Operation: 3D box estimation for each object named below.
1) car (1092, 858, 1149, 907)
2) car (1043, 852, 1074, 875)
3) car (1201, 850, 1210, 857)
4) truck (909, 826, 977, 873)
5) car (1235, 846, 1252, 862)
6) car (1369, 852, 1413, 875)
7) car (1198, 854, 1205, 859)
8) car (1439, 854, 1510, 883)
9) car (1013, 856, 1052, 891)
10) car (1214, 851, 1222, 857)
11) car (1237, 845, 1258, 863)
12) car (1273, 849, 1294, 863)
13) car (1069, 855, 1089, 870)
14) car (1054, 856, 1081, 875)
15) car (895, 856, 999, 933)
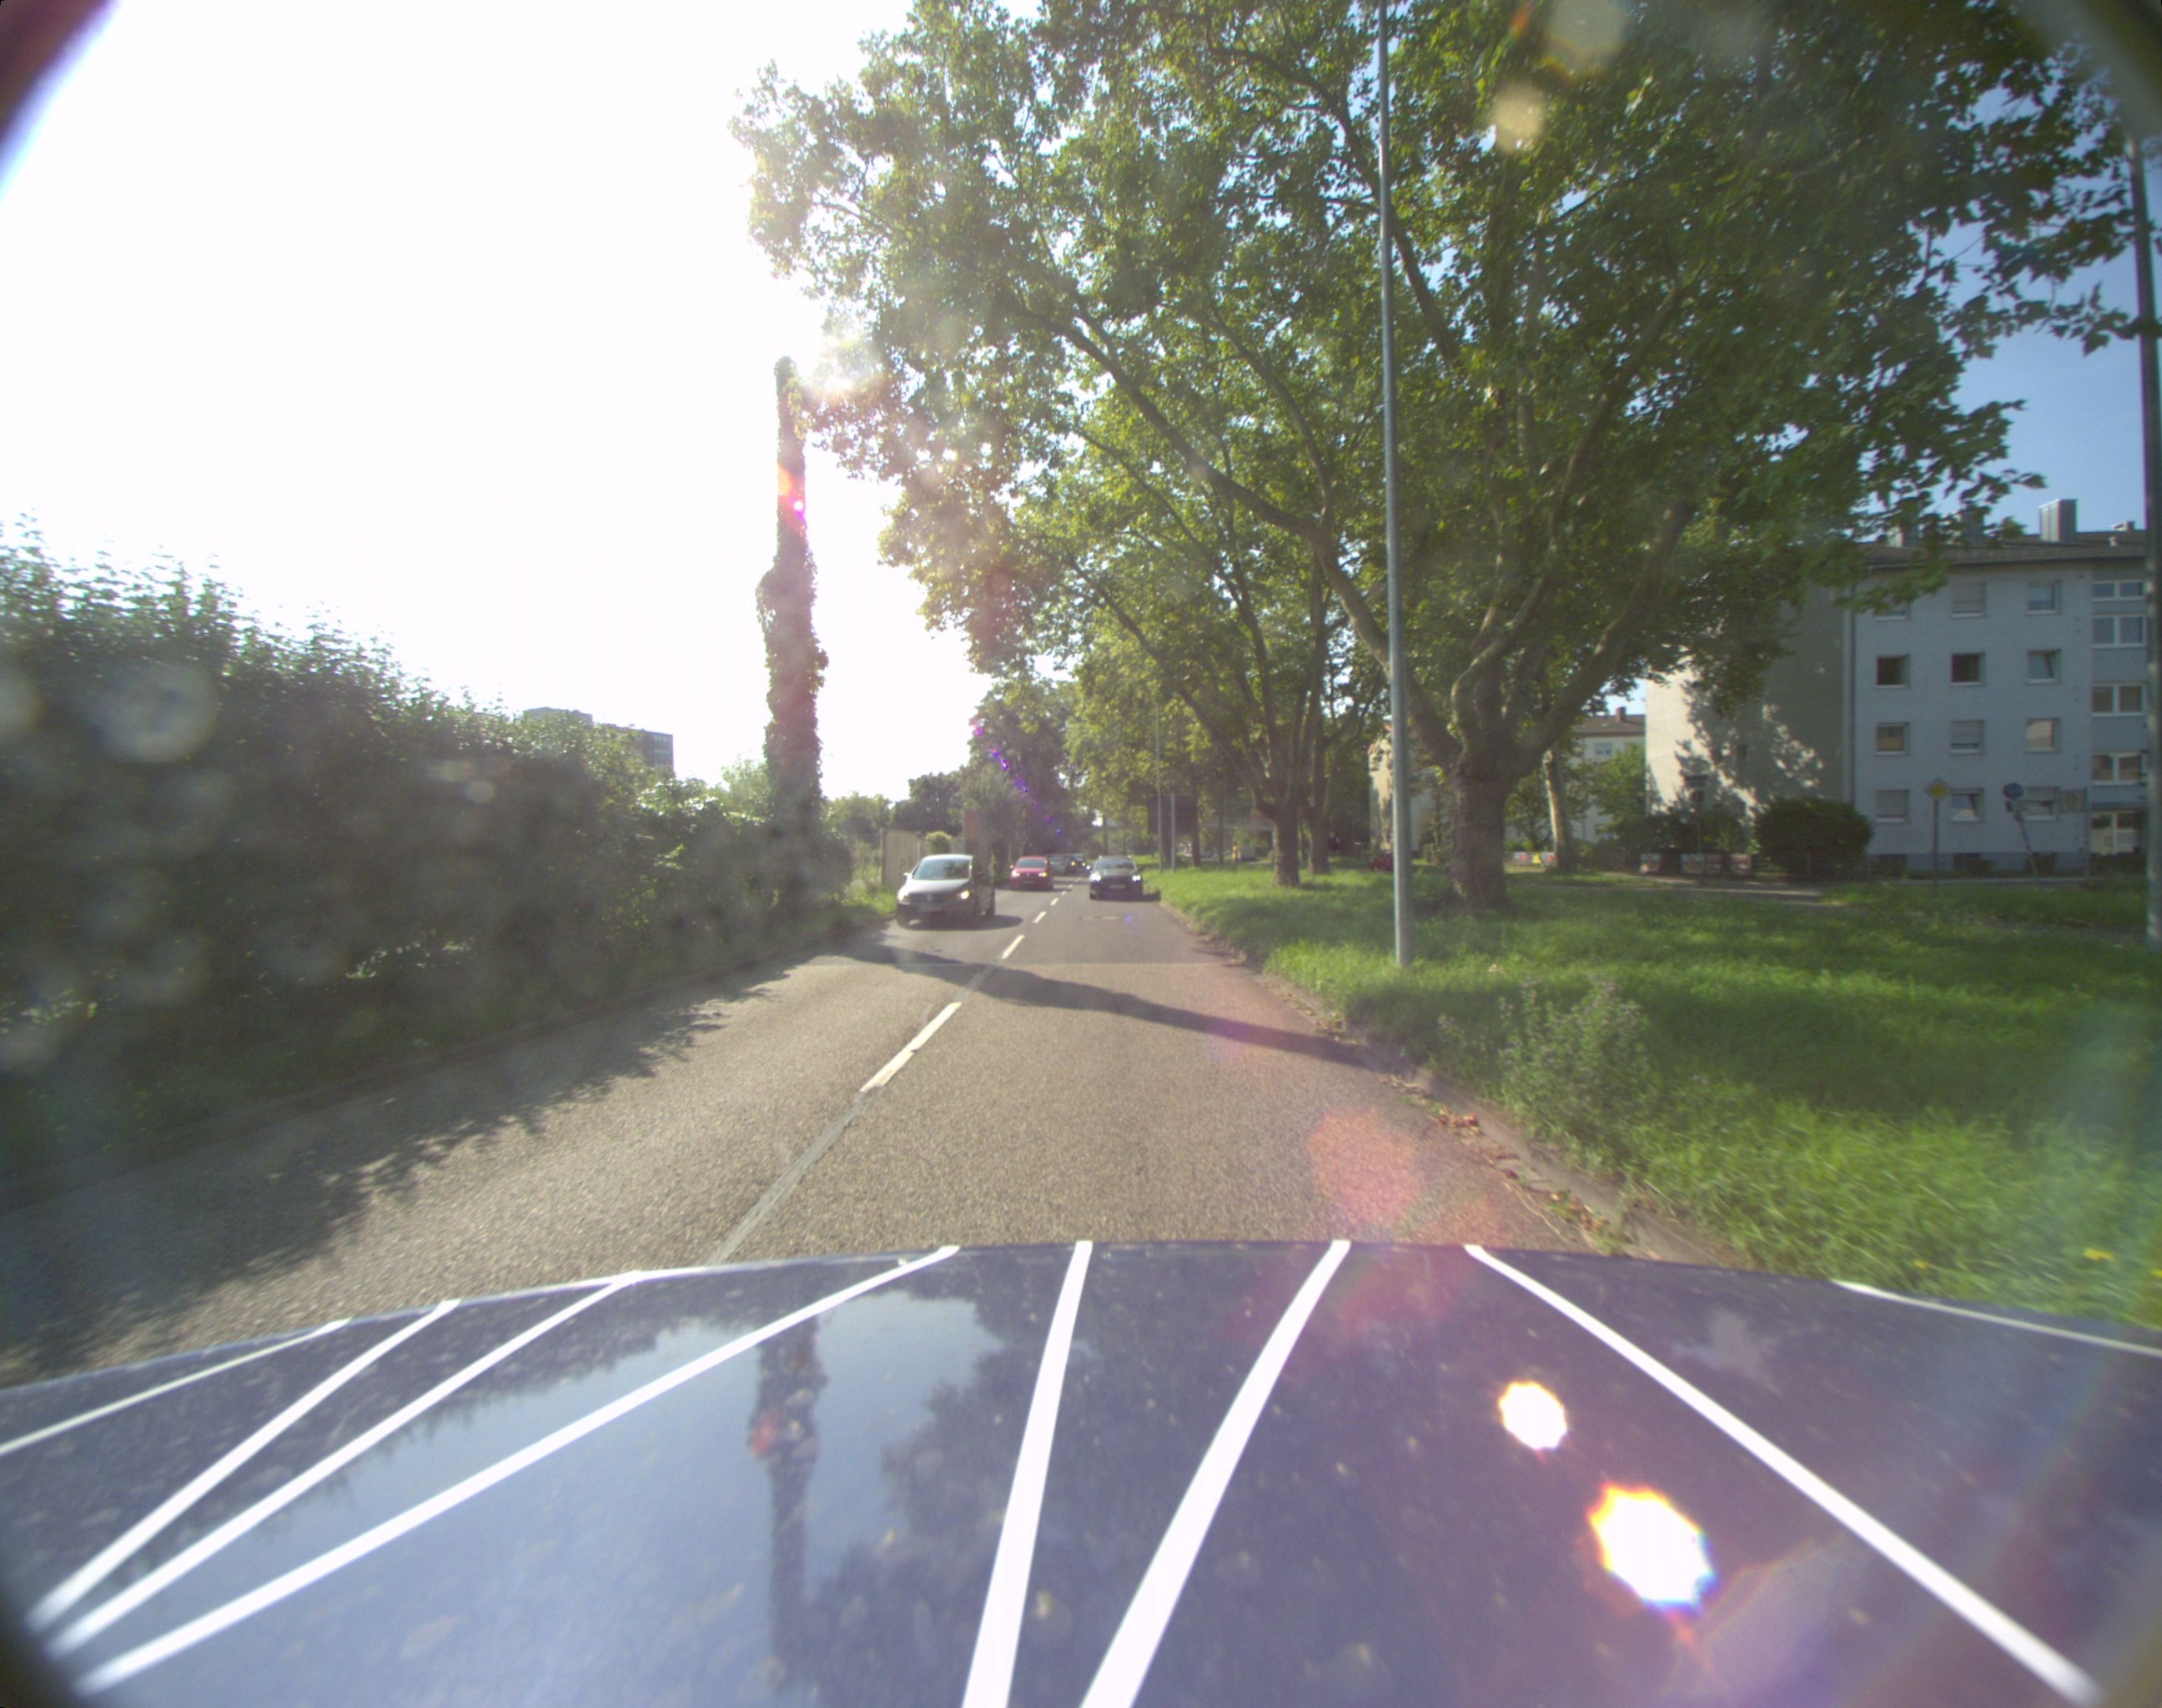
[{"bbox_3d":[1.315,0.956,26.729,1.862,1.572,3.612,0,0,1],"label":"car"},{"bbox_3d":[-1.531,0.624,53.273,1.648,1.467,3.900,-1,1,6],"label":"car"},{"bbox_3d":[30.783,-0.188,188.173,1.806,1.710,4.720,0,0,3],"label":"car"},{"bbox_3d":[-7.139,-0.258,40.033,1.919,2.220,6.913,-1,1,3],"label":"truck"},{"bbox_3d":[26.068,-0.003,122.152,2.212,2.465,6.063,-1,1,7],"label":"car"},{"bbox_3d":[21.077,0.633,51.811,1.542,1.443,4.064,-1,1,4],"label":"car"},{"bbox_3d":[39.247,0.682,247.762,1.791,1.524,4.457,-1,1,6],"label":"car"},{"bbox_3d":[20.730,0.722,40.217,1.806,1.422,4.065,-2,0,4],"label":"car"},{"bbox_3d":[-2.059,0.820,33.224,1.579,1.391,3.470,0,1,-2],"label":"car"},{"bbox_3d":[32.808,-0.055,182.171,1.648,1.471,3.900,-1,1,7],"label":"car"},{"bbox_3d":[24.982,-0.025,114.334,2.212,2.416,6.266,-3,1,5],"label":"car"},{"bbox_3d":[23.275,0.229,87.554,1.526,1.524,3.863,0,1,3],"label":"car"},{"bbox_3d":[-0.195,0.878,80.913,1.648,1.378,3.900,-1,1,7],"label":"car"},{"bbox_3d":[-1.083,0.937,63.288,1.648,1.467,3.900,-1,1,7],"label":"car"},{"bbox_3d":[-3.034,0.858,17.918,1.649,1.548,3.898,0,1,1],"label":"car"}]
